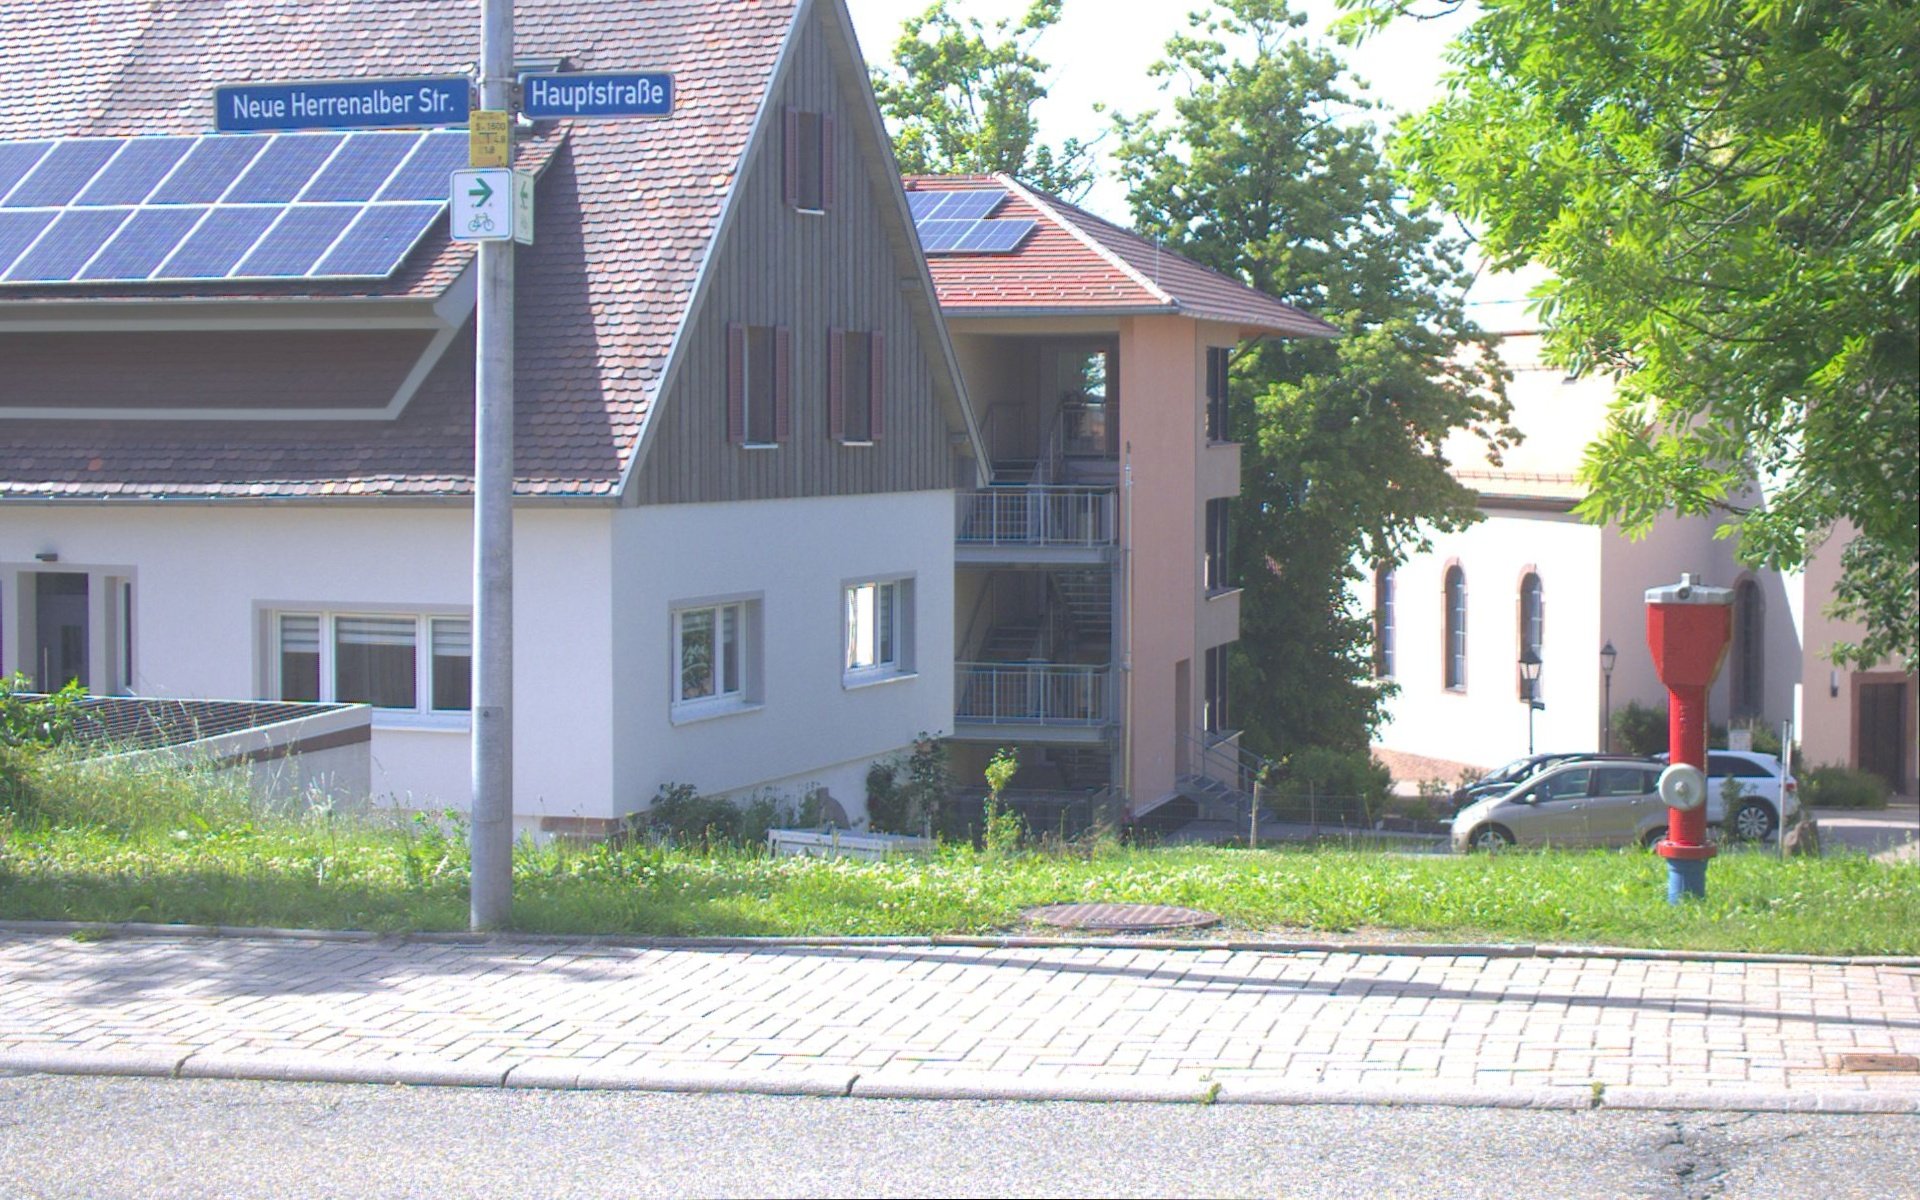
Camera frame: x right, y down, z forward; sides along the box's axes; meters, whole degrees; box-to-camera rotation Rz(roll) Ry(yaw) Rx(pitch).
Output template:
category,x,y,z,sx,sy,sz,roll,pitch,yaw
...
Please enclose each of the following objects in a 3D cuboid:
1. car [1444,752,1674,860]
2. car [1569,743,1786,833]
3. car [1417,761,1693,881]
category,x,y,z,sx,sy,sz,roll,pitch,yaw
car,10.153,3.490,58.469,3.774,1.752,1.713,0,-1,9
car,13.086,3.427,62.903,3.774,1.588,1.713,0,-1,9
car,9.106,3.377,52.759,4.092,1.752,1.713,0,-1,9
